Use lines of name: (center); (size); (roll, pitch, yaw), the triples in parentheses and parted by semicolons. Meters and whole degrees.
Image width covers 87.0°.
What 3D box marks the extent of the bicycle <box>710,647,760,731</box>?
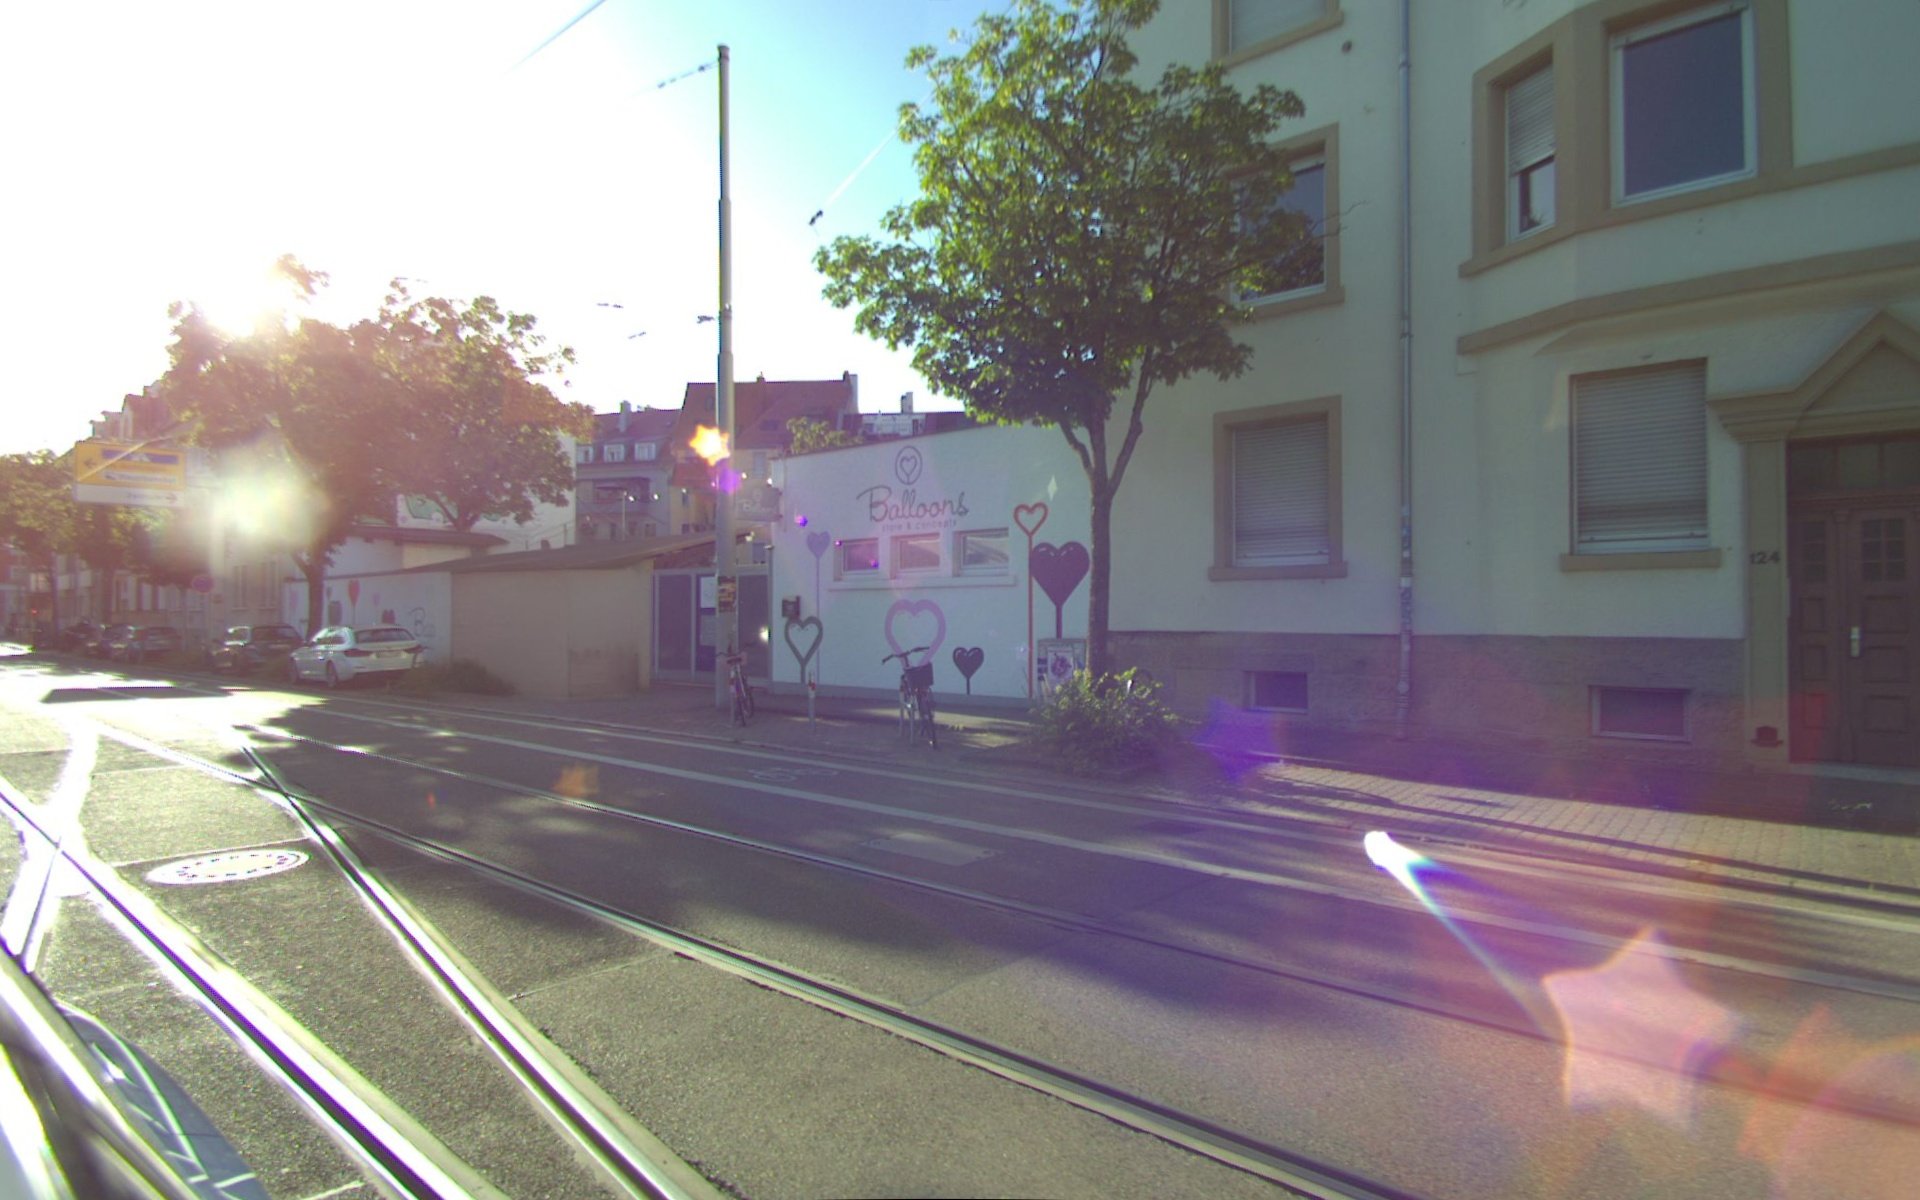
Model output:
bicycle: (-3.208, 1.232, 14.512); (0.658, 1.048, 1.791); (0, 0, -12)

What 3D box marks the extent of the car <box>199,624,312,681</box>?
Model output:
car: (-20.727, 1.485, 29.706); (4.303, 1.497, 1.754); (-1, 0, 41)

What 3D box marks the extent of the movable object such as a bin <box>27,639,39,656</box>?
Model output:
movable object such as a bin: (-52.925, 2.691, 57.786); (0.582, 0.942, 0.420); (-1, -1, 41)

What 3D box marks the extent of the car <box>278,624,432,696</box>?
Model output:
car: (-14.717, 1.376, 24.518); (4.659, 1.502, 1.845); (-1, 0, 41)

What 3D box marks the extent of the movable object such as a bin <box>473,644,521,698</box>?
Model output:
movable object such as a bin: (-9.174, 1.395, 20.041); (0.702, 0.966, 0.576); (-1, 4, 41)

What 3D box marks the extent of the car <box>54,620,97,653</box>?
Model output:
car: (-44.729, 1.837, 51.171); (2.546, 1.514, 1.341); (-5, -3, 41)

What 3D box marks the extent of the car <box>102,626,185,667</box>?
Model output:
car: (-31.957, 1.771, 39.562); (4.291, 1.439, 1.854); (-1, 0, 41)

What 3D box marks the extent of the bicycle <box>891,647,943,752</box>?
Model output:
bicycle: (-0.532, 1.130, 11.980); (0.524, 1.048, 1.989); (-1, 0, -5)

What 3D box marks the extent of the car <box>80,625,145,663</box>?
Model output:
car: (-36.513, 1.850, 43.563); (3.998, 1.516, 1.555); (-1, 0, 41)

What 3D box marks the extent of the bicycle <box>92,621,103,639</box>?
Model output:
bicycle: (-51.237, 1.788, 60.119); (1.661, 1.050, 0.300); (-1, 0, 41)

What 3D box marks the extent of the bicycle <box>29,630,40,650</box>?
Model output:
bicycle: (-52.052, 2.242, 56.929); (1.661, 1.050, 0.300); (-1, 0, 41)

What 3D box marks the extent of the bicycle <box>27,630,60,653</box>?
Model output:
bicycle: (-50.281, 2.279, 55.513); (0.409, 1.178, 1.326); (-1, 0, 41)
